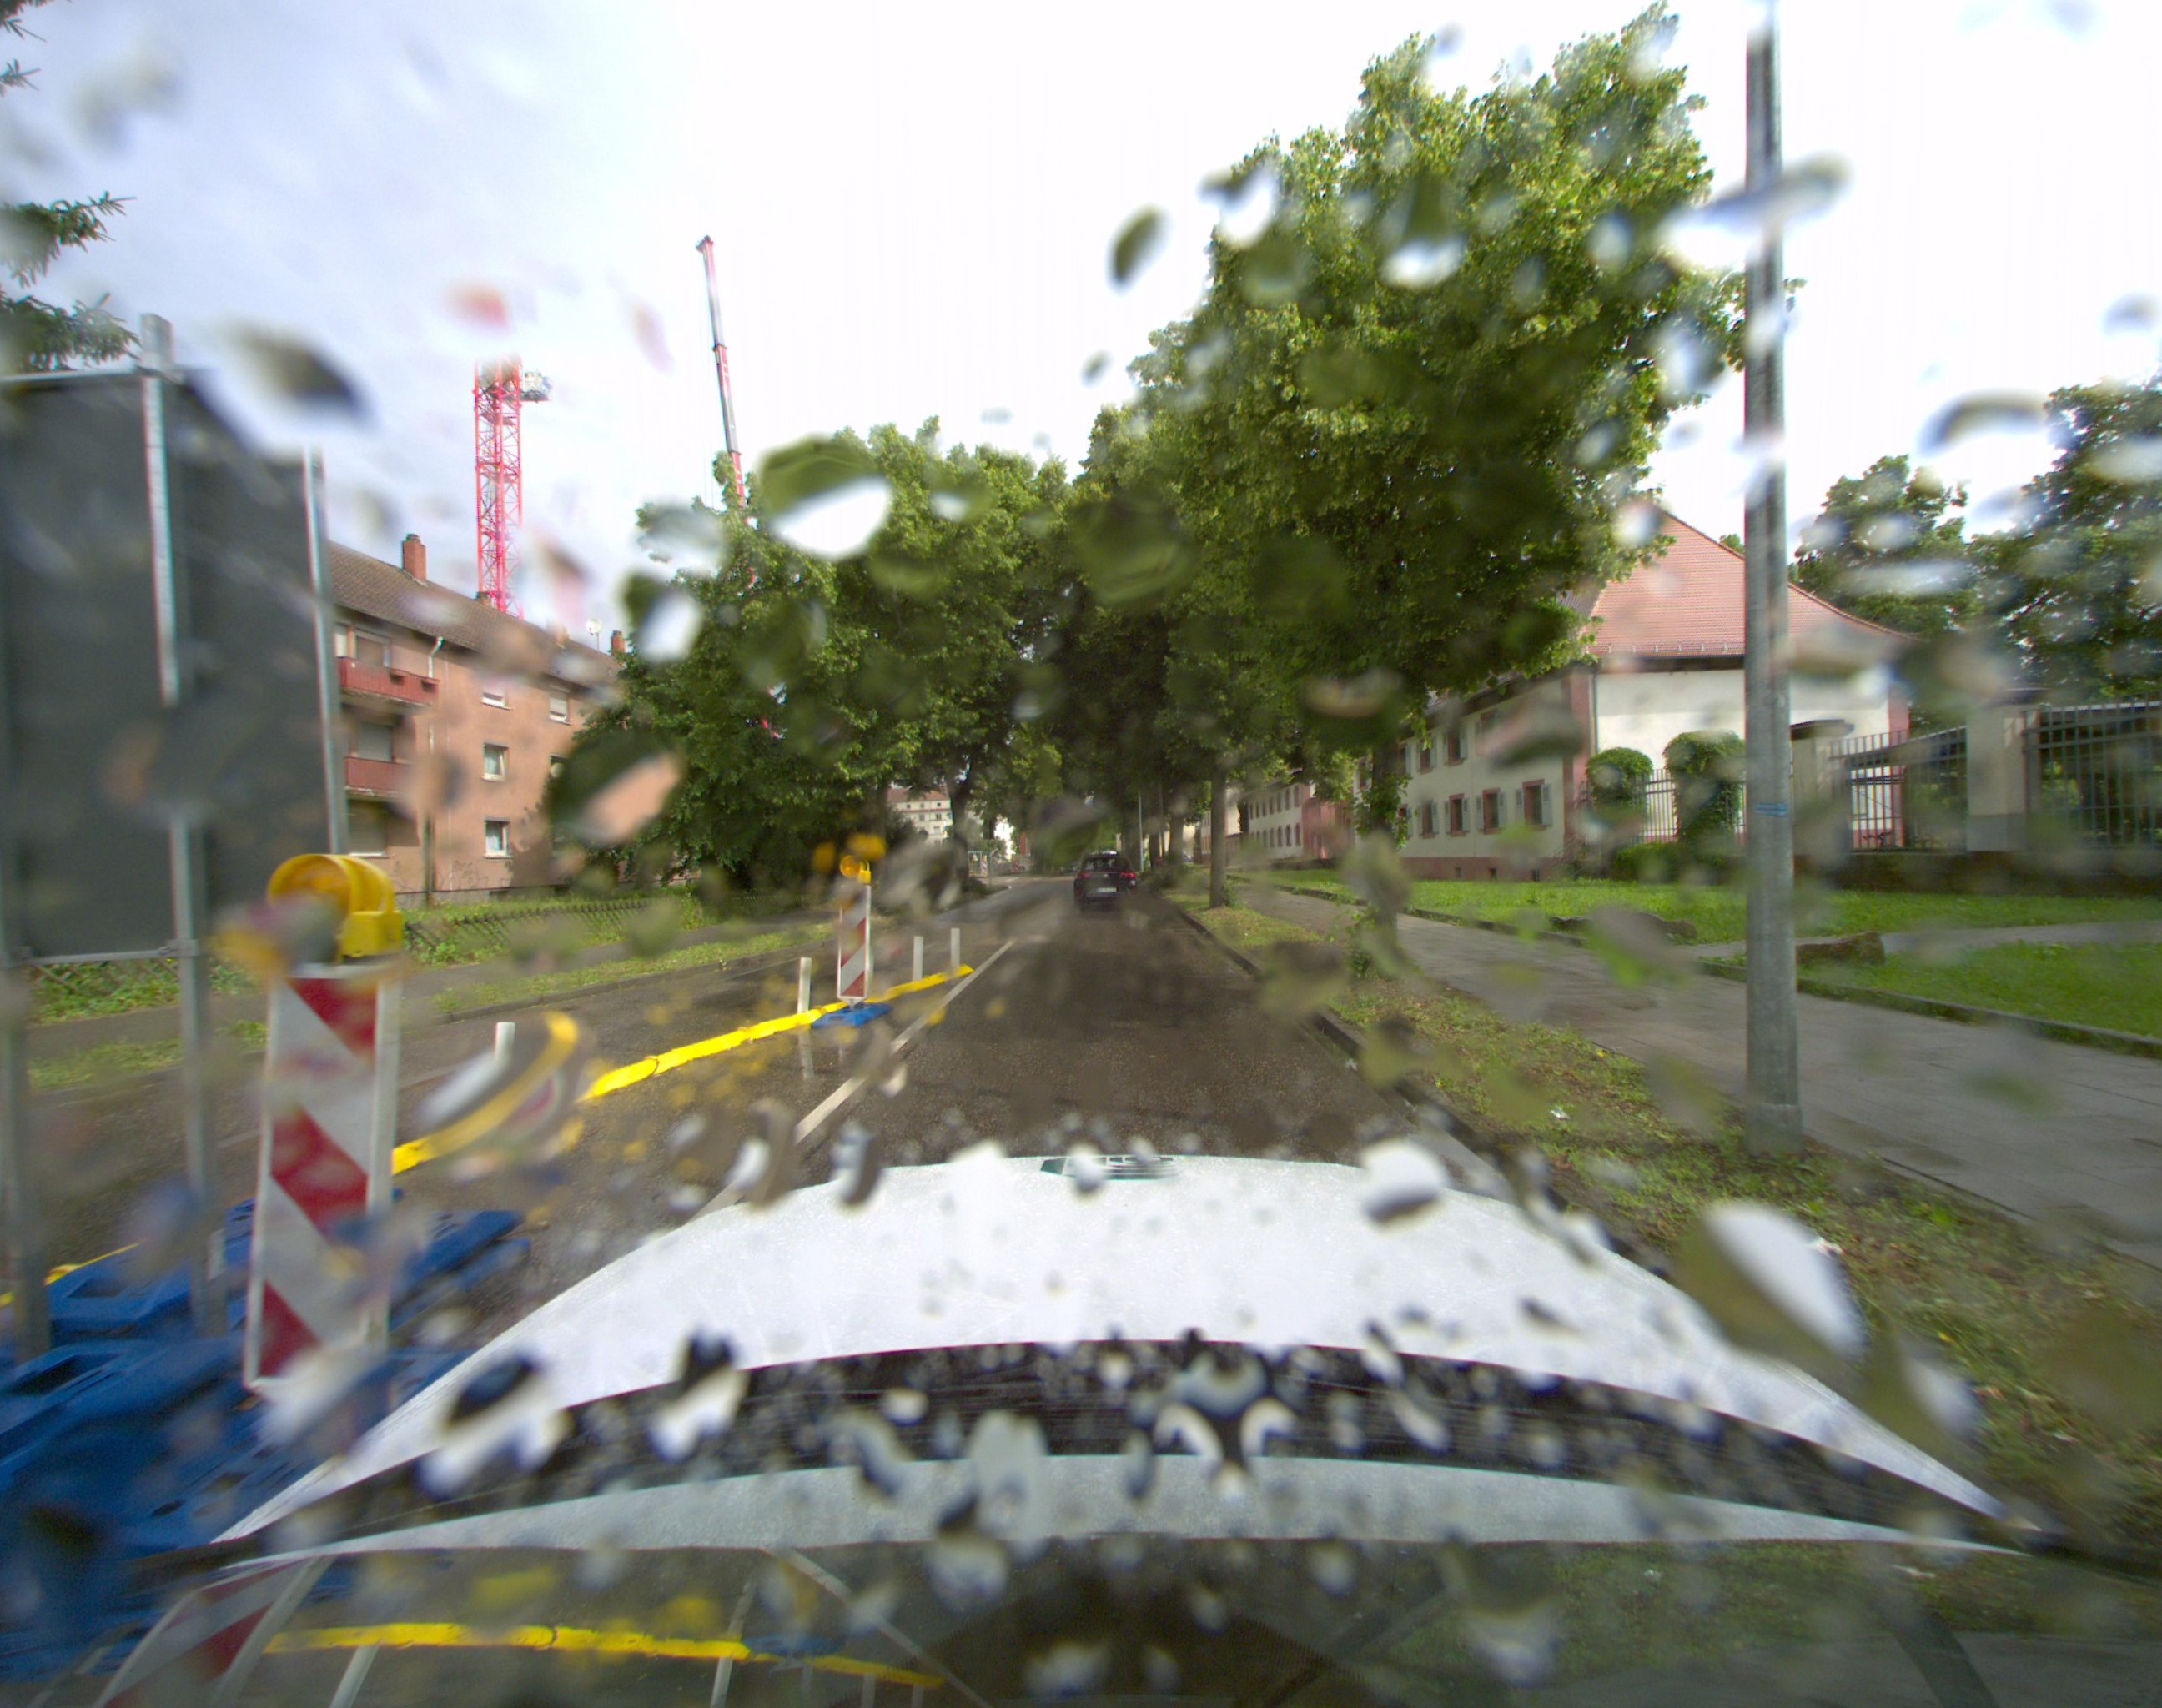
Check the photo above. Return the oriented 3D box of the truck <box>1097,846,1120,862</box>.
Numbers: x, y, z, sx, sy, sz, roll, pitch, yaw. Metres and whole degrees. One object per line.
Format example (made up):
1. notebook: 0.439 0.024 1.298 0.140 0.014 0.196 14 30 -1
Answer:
1. truck: 4.987 0.015 148.308 2.803 2.656 8.219 -1 0 -7

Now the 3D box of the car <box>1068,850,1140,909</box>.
1. car: 0.661 0.676 23.519 1.888 1.522 4.001 -1 0 1

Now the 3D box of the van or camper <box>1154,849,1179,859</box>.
1. van or camper: 17.739 -0.043 169.159 4.856 1.925 2.132 -1 0 2

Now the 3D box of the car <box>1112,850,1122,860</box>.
1. car: 8.777 0.229 197.495 1.983 2.014 4.006 -4 -5 6

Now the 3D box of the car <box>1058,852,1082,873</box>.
1. car: -0.976 0.749 74.236 1.879 1.713 4.232 -2 0 2
